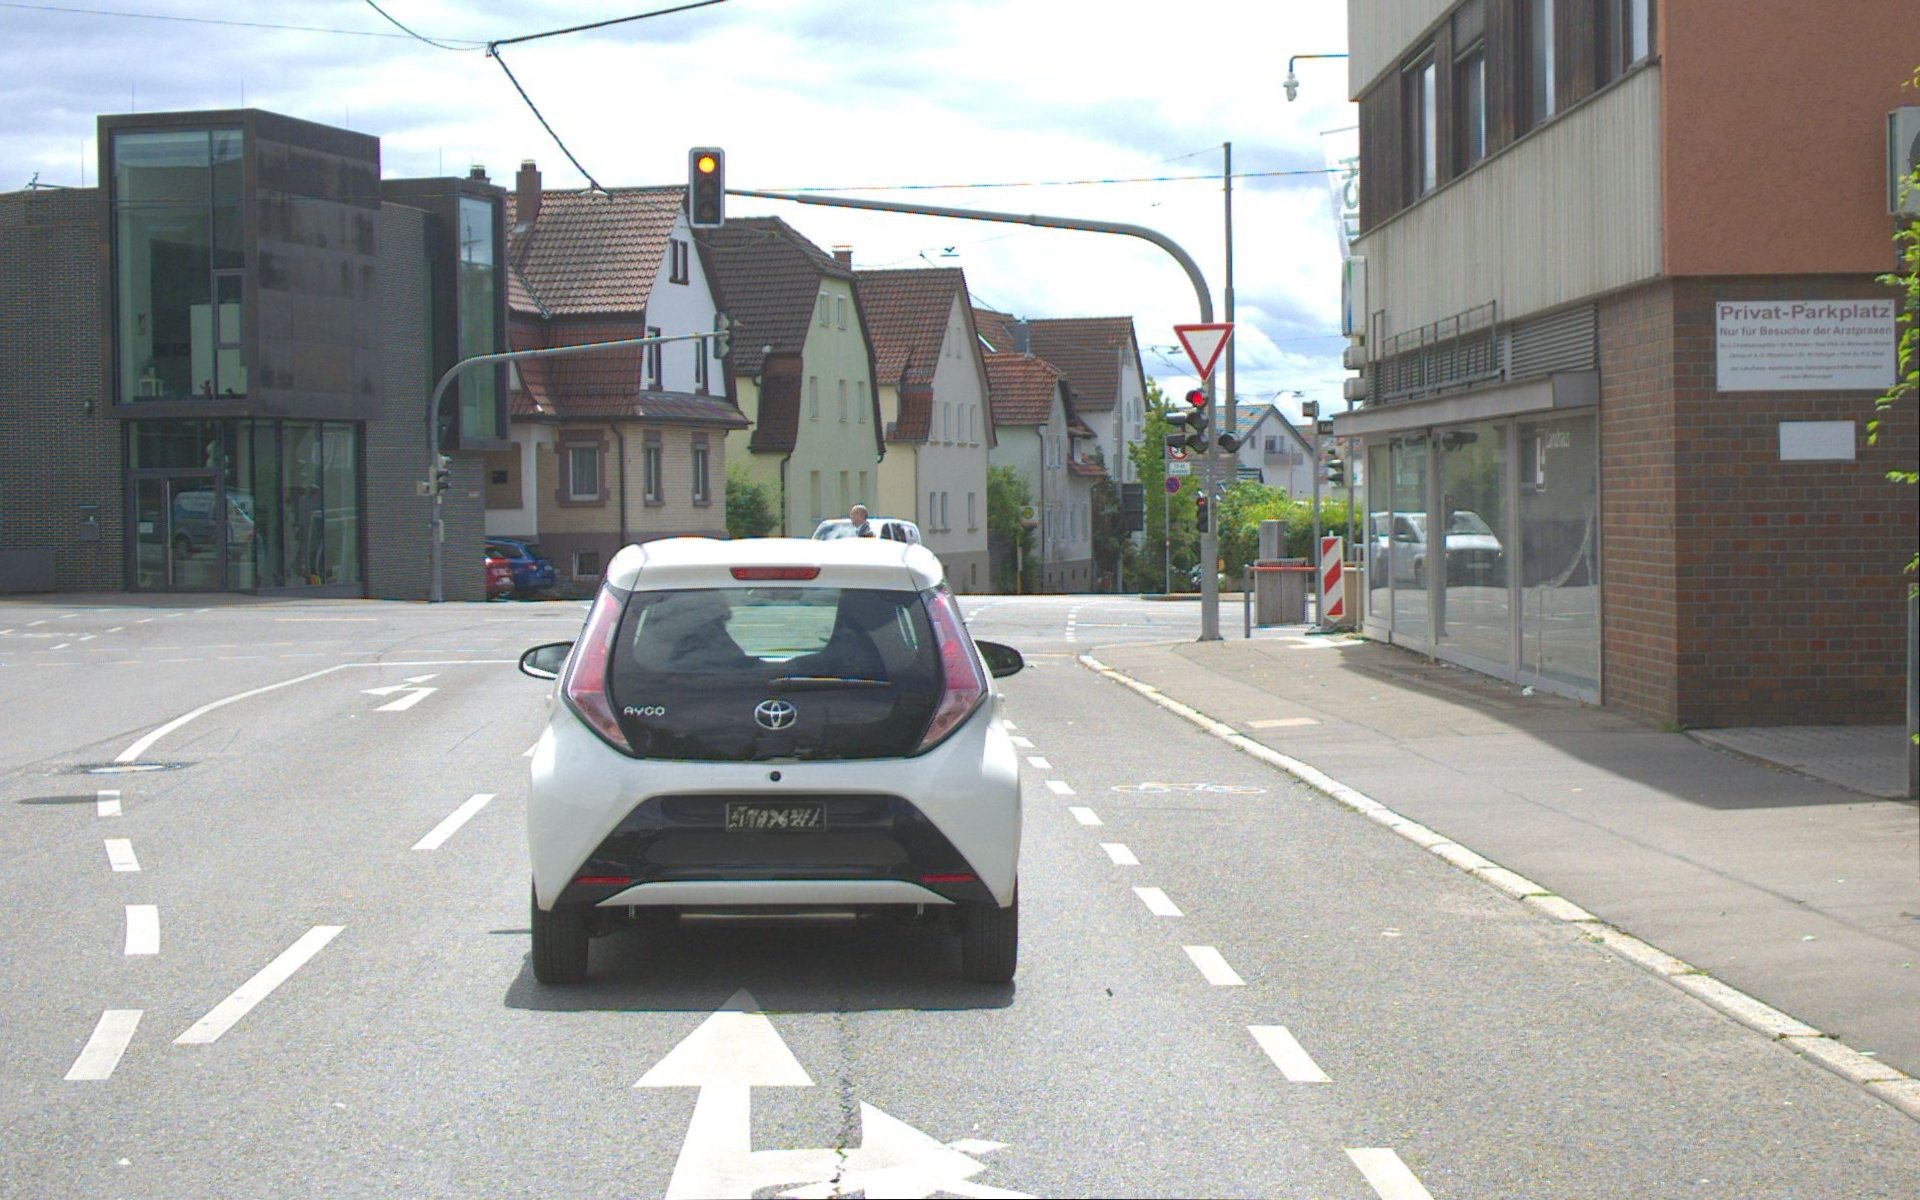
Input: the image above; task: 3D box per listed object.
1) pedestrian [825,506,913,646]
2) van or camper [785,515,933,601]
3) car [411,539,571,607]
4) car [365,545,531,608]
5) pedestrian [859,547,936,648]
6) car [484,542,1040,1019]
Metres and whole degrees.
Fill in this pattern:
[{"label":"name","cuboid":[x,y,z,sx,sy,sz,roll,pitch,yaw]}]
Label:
[{"label":"pedestrian","cuboid":[-1.128,-0.299,42.585,0.822,1.715,0.818,0,1,-25]},{"label":"van or camper","cuboid":[-2.332,-0.984,80.947,2.117,1.919,5.282,2,1,14]},{"label":"car","cuboid":[-11.828,-0.687,86.761,3.616,1.600,1.691,2,1,10]},{"label":"car","cuboid":[-12.507,-0.572,84.044,3.616,1.414,1.691,2,1,10]},{"label":"pedestrian","cuboid":[-0.768,-0.040,41.937,0.733,1.217,0.646,0,1,-25]},{"label":"car","cuboid":[-0.708,0.540,12.390,1.697,1.451,3.299,1,1,-3]}]
